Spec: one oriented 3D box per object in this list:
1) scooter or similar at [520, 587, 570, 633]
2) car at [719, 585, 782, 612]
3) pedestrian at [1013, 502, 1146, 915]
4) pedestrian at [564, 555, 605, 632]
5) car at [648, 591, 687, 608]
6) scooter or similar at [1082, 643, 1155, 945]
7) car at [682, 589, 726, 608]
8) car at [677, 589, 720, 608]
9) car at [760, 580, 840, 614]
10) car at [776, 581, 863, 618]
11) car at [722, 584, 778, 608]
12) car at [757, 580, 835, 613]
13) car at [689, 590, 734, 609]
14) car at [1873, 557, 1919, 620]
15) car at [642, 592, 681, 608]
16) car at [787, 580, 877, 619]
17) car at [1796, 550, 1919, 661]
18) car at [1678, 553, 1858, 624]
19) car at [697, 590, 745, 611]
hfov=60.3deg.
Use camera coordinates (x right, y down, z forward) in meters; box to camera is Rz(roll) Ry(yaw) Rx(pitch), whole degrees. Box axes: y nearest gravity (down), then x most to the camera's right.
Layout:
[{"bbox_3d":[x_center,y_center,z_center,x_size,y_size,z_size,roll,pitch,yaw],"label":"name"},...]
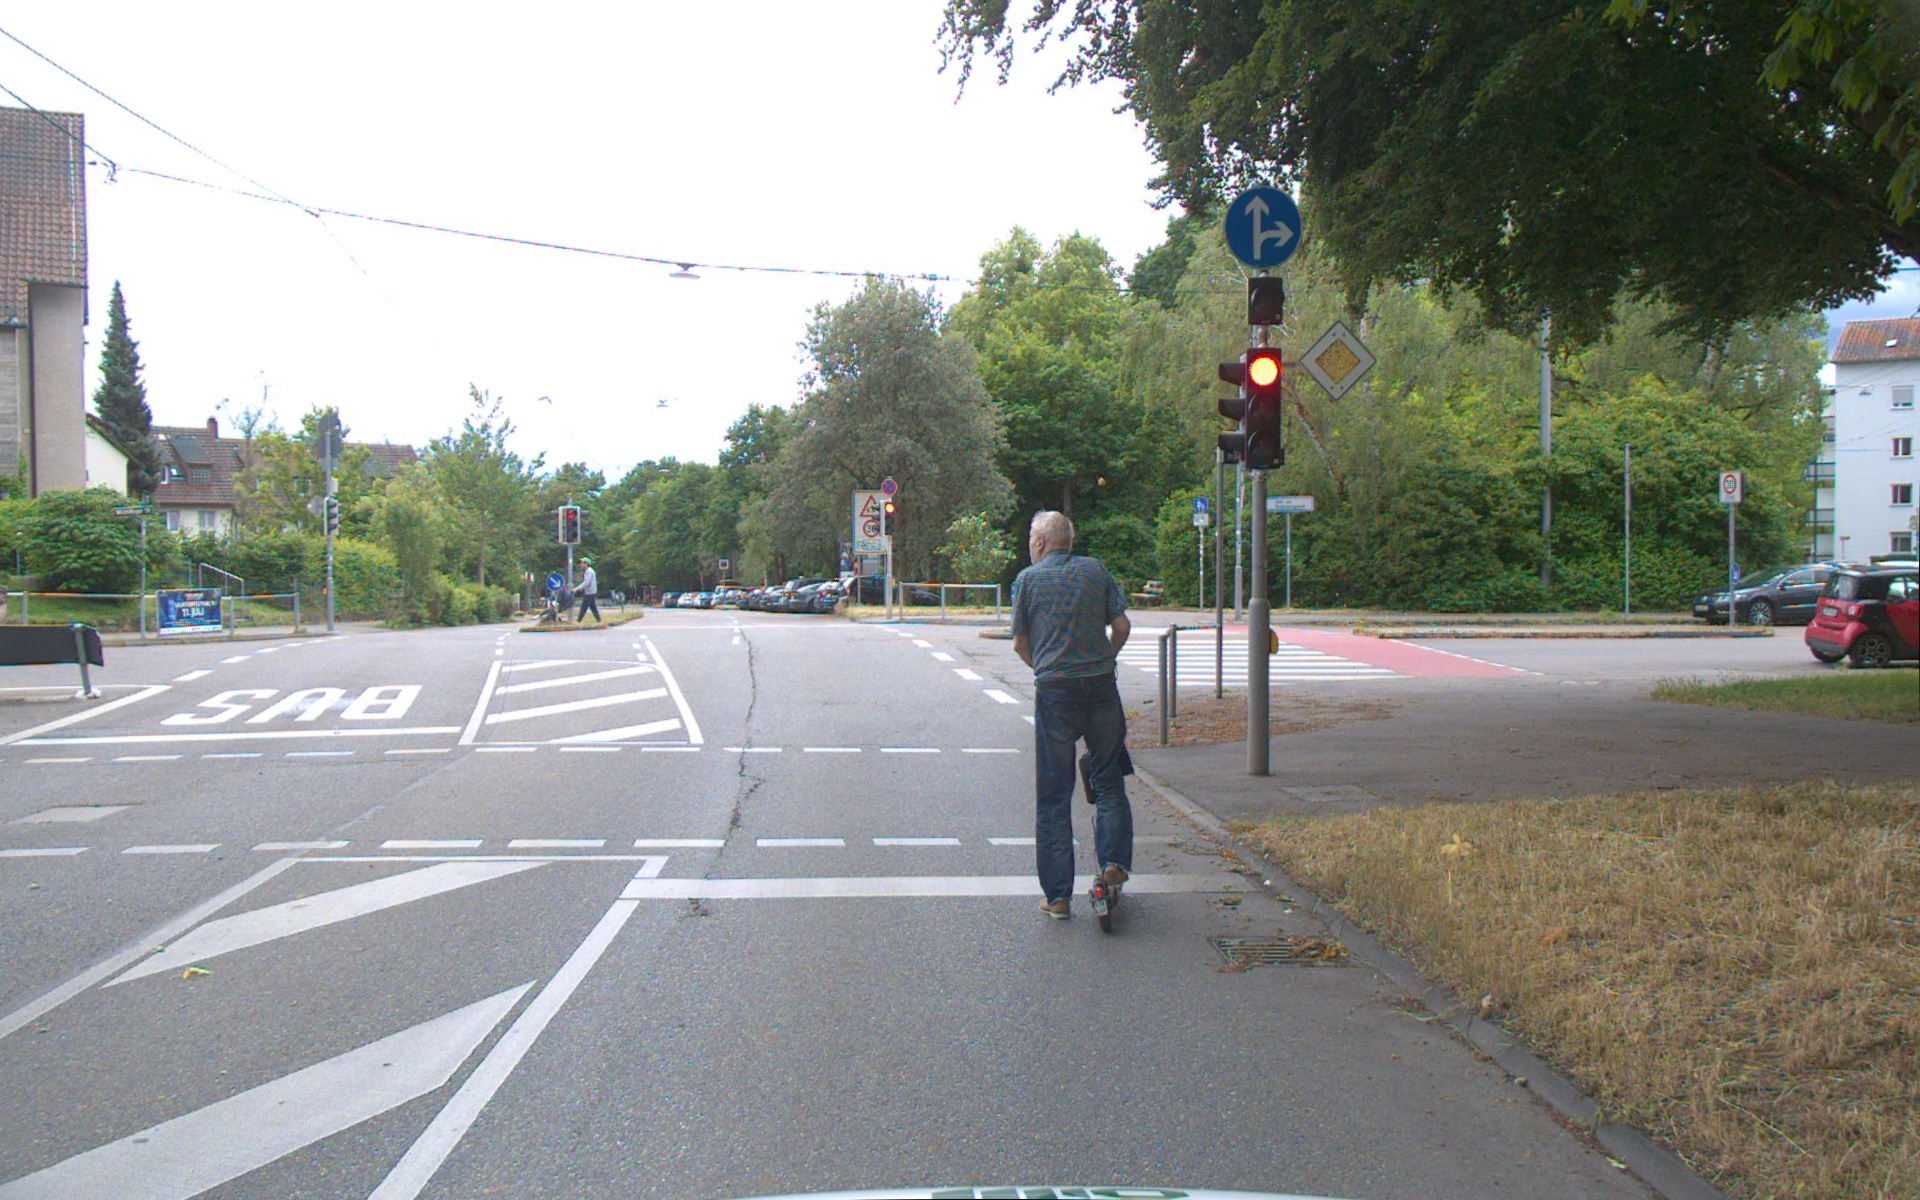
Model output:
[{"bbox_3d":[-10.254,0.242,40.870,1.096,1.100,0.572,-1,1,-30],"label":"scooter or similar"},{"bbox_3d":[-13.799,-0.137,108.764,3.790,1.639,1.716,-2,1,-24],"label":"car"},{"bbox_3d":[0.556,0.484,7.621,0.560,1.845,0.421,-1,0,7],"label":"pedestrian"},{"bbox_3d":[-9.393,-0.172,41.375,0.874,1.895,0.569,-1,1,-30],"label":"pedestrian"},{"bbox_3d":[-30.950,-0.069,175.208,3.790,1.639,1.716,-2,1,-24],"label":"car"},{"bbox_3d":[0.724,0.816,7.420,0.276,1.199,1.178,-1,1,7],"label":"scooter or similar"},{"bbox_3d":[-24.145,-0.134,155.883,3.790,1.639,1.716,-2,1,-24],"label":"car"},{"bbox_3d":[-25.076,-0.163,158.439,3.790,1.639,1.716,-2,1,-24],"label":"car"},{"bbox_3d":[-8.379,-0.168,86.572,3.790,1.639,1.716,-2,1,-24],"label":"car"},{"bbox_3d":[-6.738,-0.048,79.248,3.790,1.639,1.716,-2,1,-24],"label":"car"},{"bbox_3d":[-15.457,-0.281,121.707,3.790,1.639,1.716,-2,1,-24],"label":"car"},{"bbox_3d":[-8.818,-0.183,88.977,3.790,1.639,1.716,-2,1,-24],"label":"car"},{"bbox_3d":[-23.085,-0.060,153.766,3.790,1.639,1.716,-2,1,-24],"label":"car"},{"bbox_3d":[26.395,-0.355,45.873,1.689,1.639,3.850,-1,1,27],"label":"car"},{"bbox_3d":[-32.058,-0.007,177.487,3.790,1.639,1.716,-2,1,-24],"label":"car"},{"bbox_3d":[-5.944,-0.027,76.719,3.792,1.639,1.715,-2,1,-25],"label":"car"},{"bbox_3d":[15.248,0.037,25.890,3.444,1.639,1.729,-2,1,4],"label":"car"},{"bbox_3d":[19.144,-0.279,39.292,3.444,1.557,1.729,-2,1,5],"label":"car"},{"bbox_3d":[-20.575,0.021,142.500,3.790,1.639,1.716,-2,1,-24],"label":"car"}]
